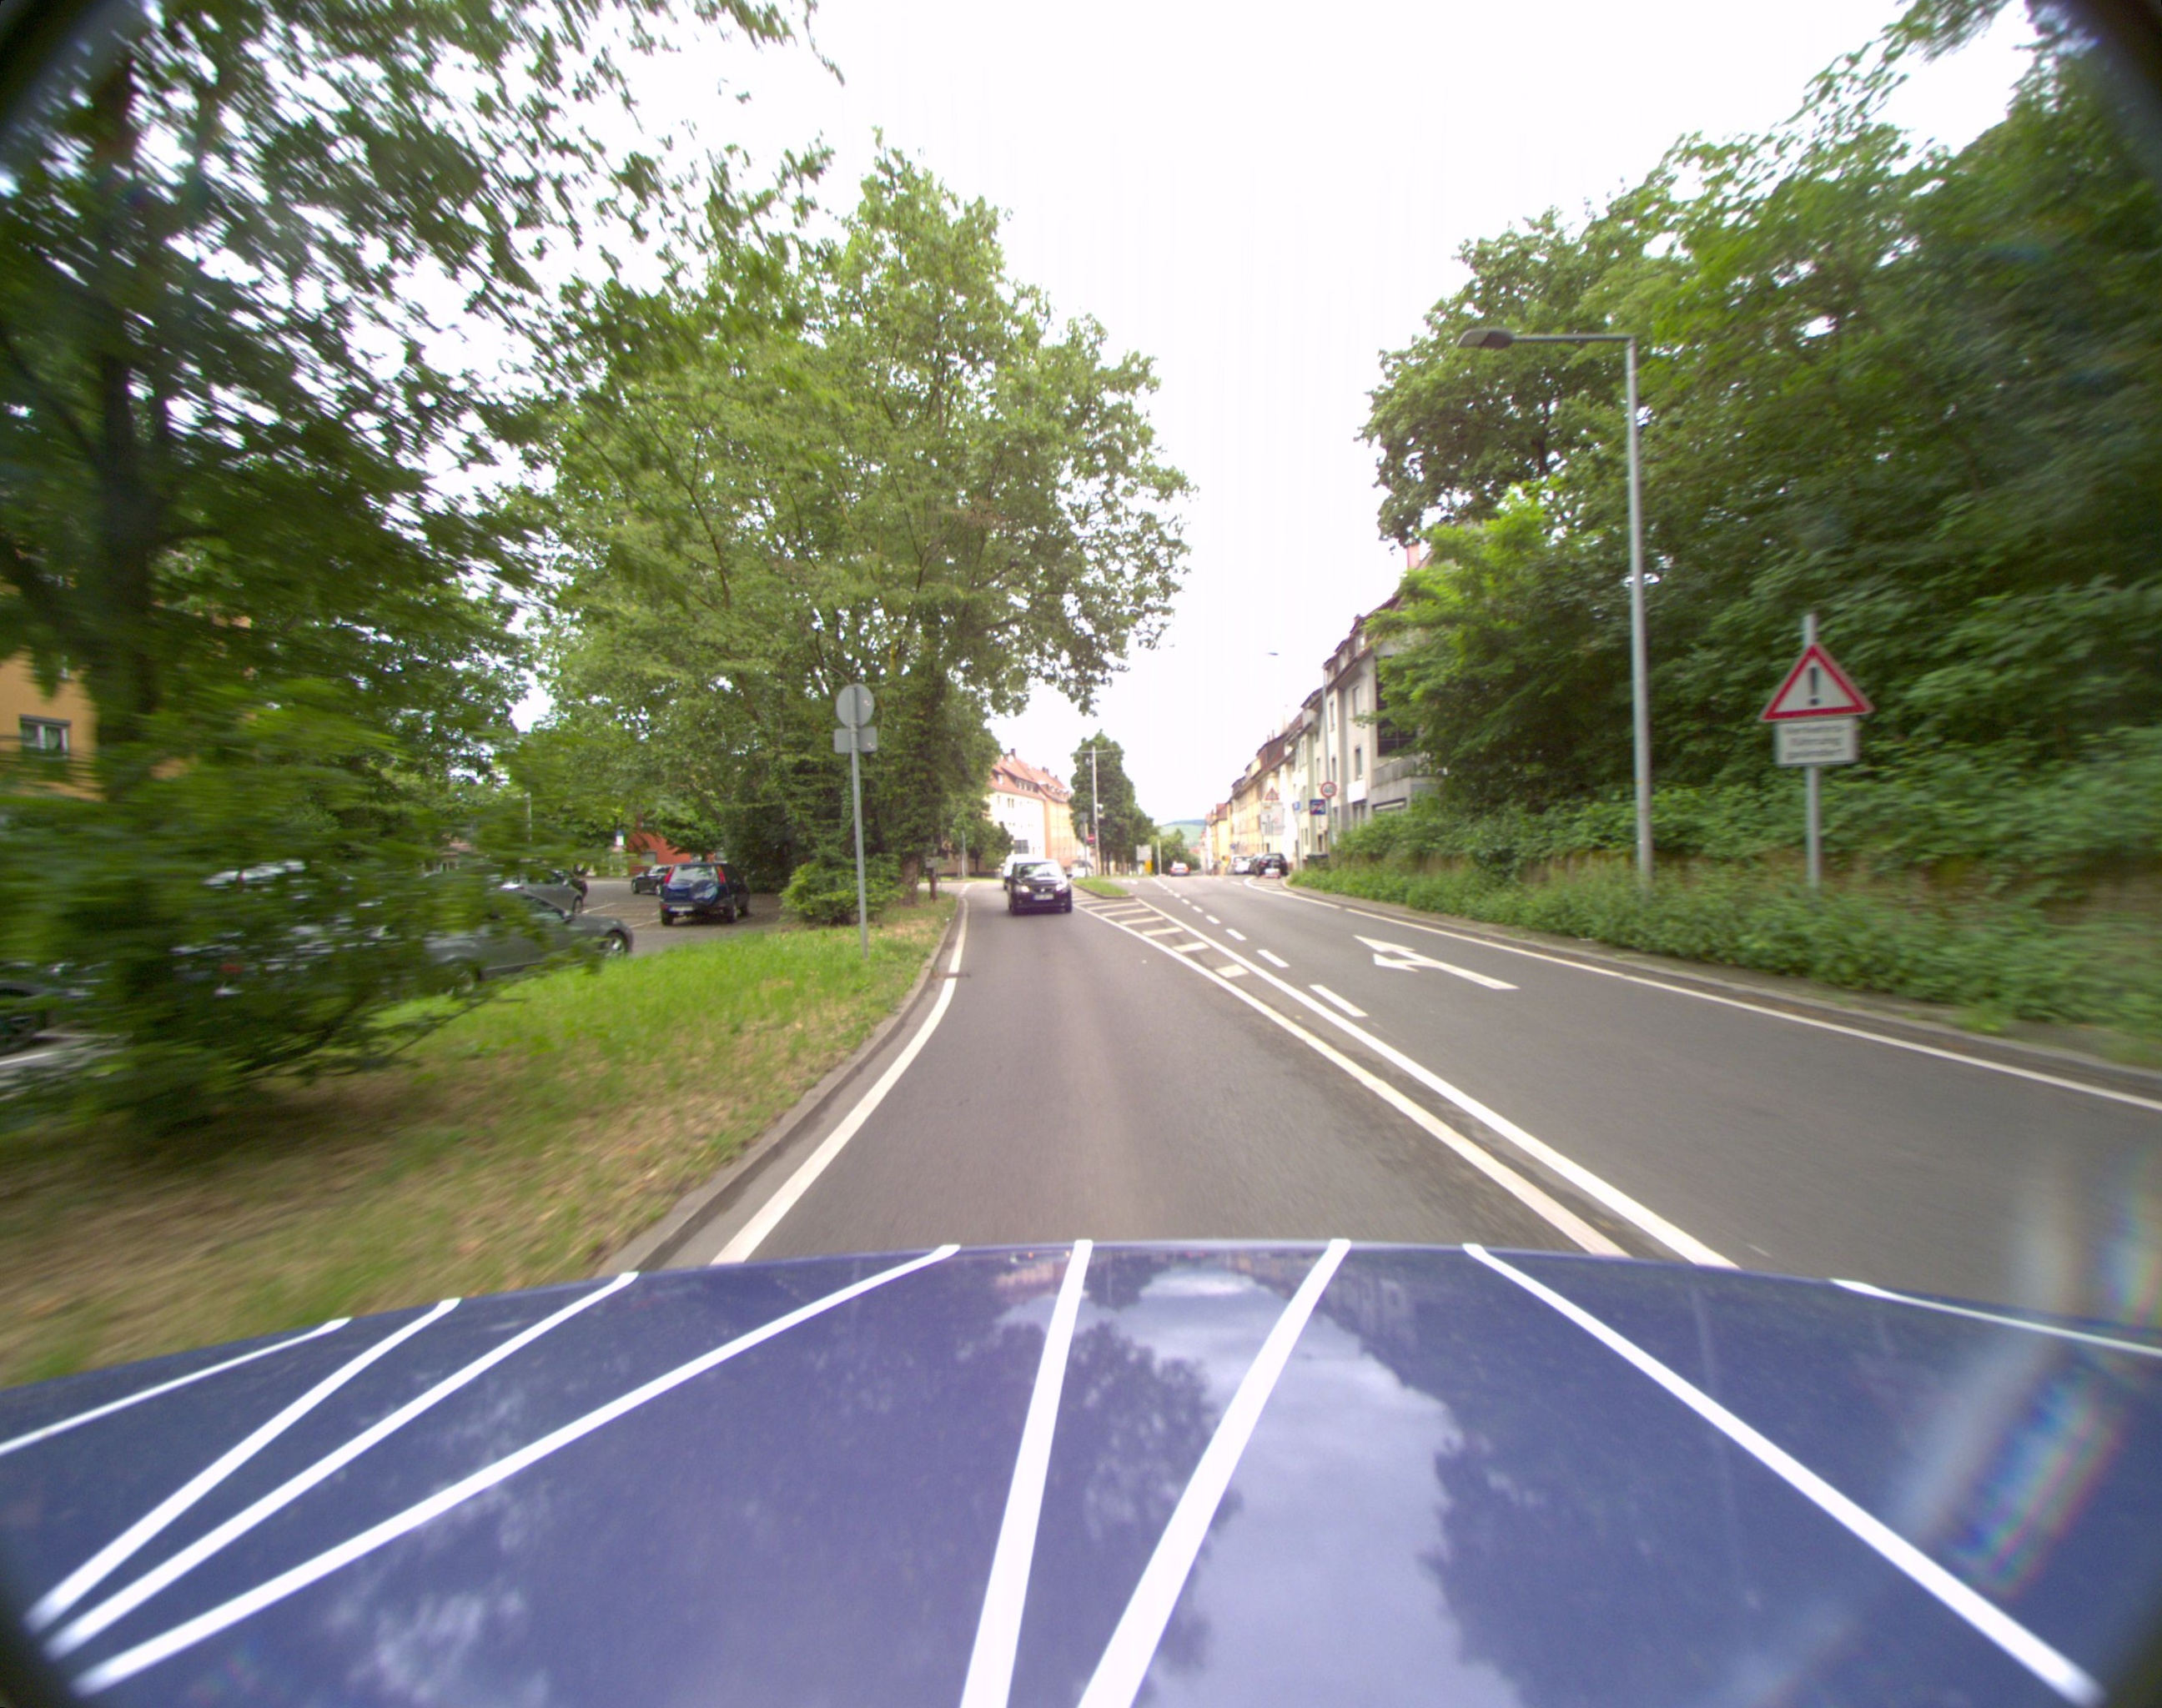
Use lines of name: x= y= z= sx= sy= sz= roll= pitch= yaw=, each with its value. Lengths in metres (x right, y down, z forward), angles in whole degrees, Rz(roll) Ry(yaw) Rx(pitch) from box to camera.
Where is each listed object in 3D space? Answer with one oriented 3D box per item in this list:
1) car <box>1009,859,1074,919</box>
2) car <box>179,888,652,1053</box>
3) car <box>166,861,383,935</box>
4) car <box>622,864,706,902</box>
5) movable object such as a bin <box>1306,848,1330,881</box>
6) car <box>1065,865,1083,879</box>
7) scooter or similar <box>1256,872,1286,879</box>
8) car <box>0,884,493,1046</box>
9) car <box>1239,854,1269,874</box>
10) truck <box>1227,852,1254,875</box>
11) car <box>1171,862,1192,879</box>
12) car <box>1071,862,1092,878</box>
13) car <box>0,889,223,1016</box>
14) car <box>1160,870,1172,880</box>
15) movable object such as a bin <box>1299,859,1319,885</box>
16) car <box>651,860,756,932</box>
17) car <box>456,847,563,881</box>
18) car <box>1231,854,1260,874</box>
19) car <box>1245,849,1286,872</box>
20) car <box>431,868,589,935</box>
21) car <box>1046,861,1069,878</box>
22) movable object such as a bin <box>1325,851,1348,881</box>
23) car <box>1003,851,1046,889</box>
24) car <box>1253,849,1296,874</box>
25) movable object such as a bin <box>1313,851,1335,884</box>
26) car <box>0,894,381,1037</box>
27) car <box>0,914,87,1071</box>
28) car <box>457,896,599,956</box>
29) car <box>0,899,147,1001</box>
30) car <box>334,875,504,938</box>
car: x=-1.094 y=0.939 z=21.744 sx=1.604 sy=1.448 sz=3.684 roll=-4 pitch=0 yaw=-2
car: x=-8.240 y=1.309 z=10.299 sx=1.789 sy=1.433 sz=5.063 roll=-1 pitch=0 yaw=2
car: x=-24.498 y=1.246 z=23.413 sx=1.999 sy=1.875 sz=4.596 roll=-1 pitch=1 yaw=-6
car: x=-19.259 y=1.306 z=34.986 sx=4.412 sy=1.476 sz=1.867 roll=3 pitch=0 yaw=40
movable object such as a bin: x=8.968 y=0.397 z=28.780 sx=0.606 sy=1.178 sz=0.492 roll=-5 pitch=0 yaw=-7
car: x=-0.807 y=2.087 z=89.197 sx=1.783 sy=1.583 sz=3.536 roll=0 pitch=-1 yaw=6
scooter or similar: x=9.494 y=1.074 z=37.953 sx=1.127 sy=0.286 sz=1.098 roll=-1 pitch=0 yaw=-7
car: x=-10.850 y=1.284 z=10.447 sx=1.789 sy=1.549 sz=4.595 roll=-1 pitch=0 yaw=2
car: x=13.671 y=0.826 z=60.324 sx=1.997 sy=1.465 sz=4.162 roll=-2 pitch=-2 yaw=8
truck: x=14.838 y=0.925 z=71.010 sx=1.997 sy=1.908 sz=5.352 roll=-2 pitch=-2 yaw=7
car: x=10.936 y=1.805 z=82.765 sx=1.874 sy=1.688 sz=4.937 roll=-2 pitch=0 yaw=3
car: x=0.057 y=1.663 z=79.323 sx=1.783 sy=1.583 sz=3.536 roll=0 pitch=-1 yaw=6
car: x=-15.250 y=1.381 z=10.381 sx=1.788 sy=1.584 sz=4.407 roll=-1 pitch=0 yaw=6
car: x=14.077 y=3.448 z=125.411 sx=1.749 sy=1.458 sz=4.590 roll=-2 pitch=-3 yaw=7
movable object such as a bin: x=8.869 y=0.695 z=29.543 sx=0.517 sy=0.961 sz=0.444 roll=-5 pitch=0 yaw=-7
car: x=-10.300 y=1.048 z=21.106 sx=1.816 sy=1.655 sz=4.877 roll=0 pitch=1 yaw=-17
car: x=-35.058 y=0.572 z=46.733 sx=4.845 sy=1.780 sz=1.787 roll=-2 pitch=3 yaw=-12
car: x=14.085 y=0.884 z=65.255 sx=1.997 sy=1.543 sz=4.386 roll=-2 pitch=-2 yaw=7
car: x=12.480 y=0.476 z=51.558 sx=1.998 sy=1.414 sz=4.215 roll=-2 pitch=-2 yaw=4
car: x=-15.482 y=1.203 z=20.896 sx=1.738 sy=1.560 sz=4.126 roll=0 pitch=0 yaw=-9
car: x=-2.232 y=1.500 z=74.274 sx=1.783 sy=1.583 sz=3.536 roll=0 pitch=-1 yaw=6
movable object such as a bin: x=9.095 y=0.442 z=27.078 sx=0.557 sy=1.019 sz=0.430 roll=-5 pitch=0 yaw=-7
car: x=-2.710 y=0.747 z=37.292 sx=1.780 sy=1.598 sz=4.163 roll=-4 pitch=0 yaw=-1
car: x=11.552 y=0.496 z=45.696 sx=1.997 sy=1.392 sz=4.522 roll=-2 pitch=-2 yaw=8
movable object such as a bin: x=9.021 y=0.513 z=28.205 sx=0.582 sy=1.178 sz=0.430 roll=-5 pitch=0 yaw=-7
car: x=-12.902 y=1.386 z=10.648 sx=1.789 sy=1.370 sz=4.595 roll=-1 pitch=0 yaw=2
car: x=-11.180 y=1.380 z=5.874 sx=1.748 sy=1.434 sz=3.898 roll=-1 pitch=1 yaw=2
car: x=-18.514 y=2.340 z=25.776 sx=2.000 sy=1.569 sz=4.900 roll=-1 pitch=0 yaw=-12
car: x=-17.243 y=1.517 z=10.996 sx=1.788 sy=1.437 sz=4.407 roll=-1 pitch=0 yaw=6
car: x=-17.793 y=1.342 z=20.705 sx=1.738 sy=1.420 sz=4.125 roll=0 pitch=0 yaw=-13
